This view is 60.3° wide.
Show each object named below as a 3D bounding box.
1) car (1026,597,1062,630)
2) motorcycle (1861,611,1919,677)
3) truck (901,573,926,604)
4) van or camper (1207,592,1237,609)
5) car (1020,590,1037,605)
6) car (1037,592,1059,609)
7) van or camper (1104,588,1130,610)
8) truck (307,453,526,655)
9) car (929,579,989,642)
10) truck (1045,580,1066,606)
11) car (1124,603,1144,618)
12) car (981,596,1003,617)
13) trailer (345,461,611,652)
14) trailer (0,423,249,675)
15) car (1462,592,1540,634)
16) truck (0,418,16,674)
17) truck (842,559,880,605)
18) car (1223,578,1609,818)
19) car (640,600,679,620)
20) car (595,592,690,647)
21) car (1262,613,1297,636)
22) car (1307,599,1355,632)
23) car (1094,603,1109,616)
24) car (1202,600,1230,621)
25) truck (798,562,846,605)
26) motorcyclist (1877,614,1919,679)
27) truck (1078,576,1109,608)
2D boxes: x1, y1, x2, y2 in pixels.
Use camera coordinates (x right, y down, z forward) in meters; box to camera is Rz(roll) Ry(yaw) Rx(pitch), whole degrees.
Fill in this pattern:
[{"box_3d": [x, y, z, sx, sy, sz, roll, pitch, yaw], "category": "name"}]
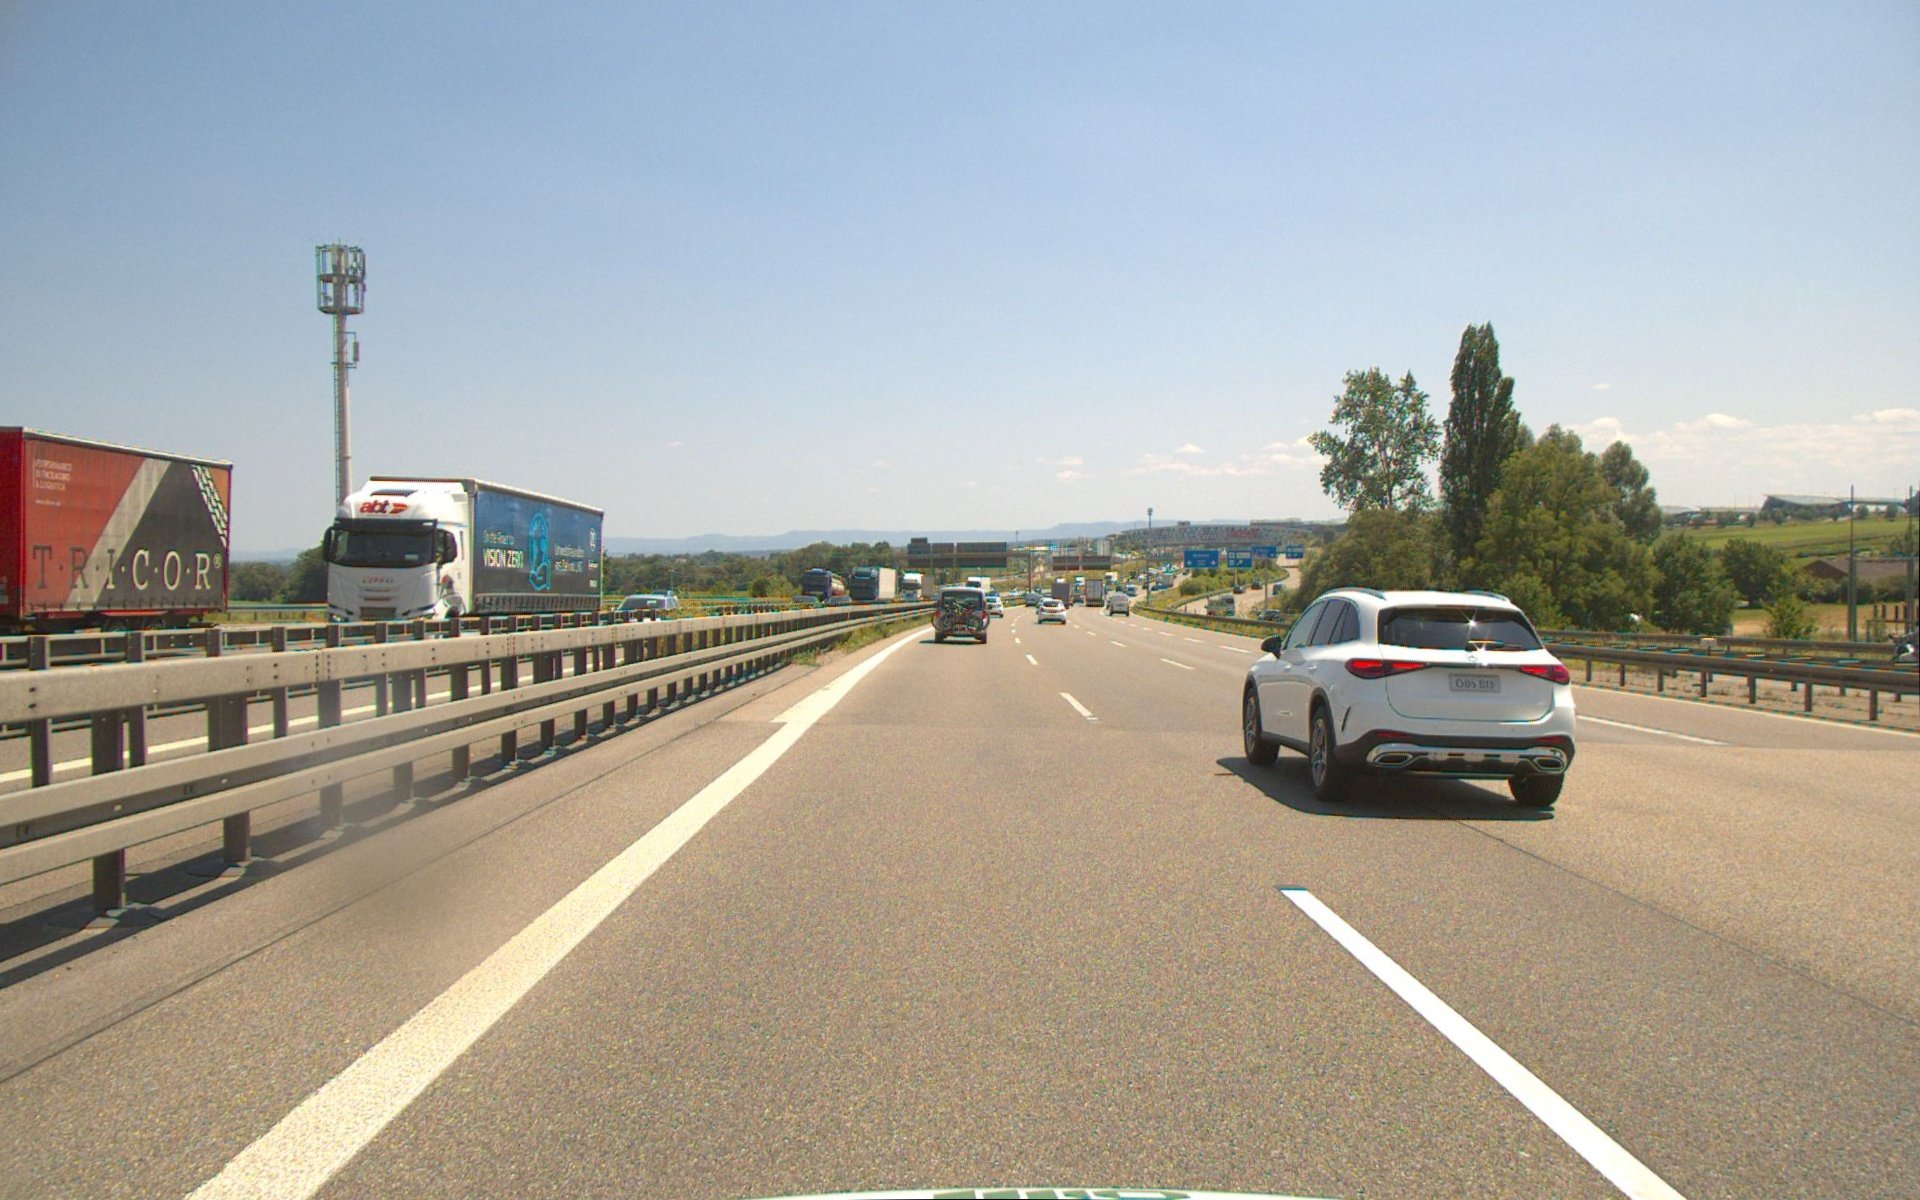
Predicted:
[{"box_3d": [5.130, 0.823, 101.392, 1.887, 1.952, 4.517, 1, 0, 0], "category": "car"}, {"box_3d": [20.666, 0.946, 36.264, 0.745, 1.390, 1.868, 1, 0, -3], "category": "motorcycle"}, {"box_3d": [-6.428, -1.613, 229.010, 2.821, 4.189, 6.387, 2, 0, 3], "category": "truck"}, {"box_3d": [33.000, 0.063, 208.436, 2.481, 2.049, 4.453, 1, 0, -8], "category": "van or camper"}, {"box_3d": [9.347, -0.355, 224.393, 2.140, 2.038, 4.002, 1, 0, 4], "category": "car"}, {"box_3d": [8.186, 0.057, 154.753, 1.941, 1.499, 4.001, 1, 0, 2], "category": "car"}, {"box_3d": [14.915, -0.114, 157.280, 2.111, 2.049, 4.305, 1, 0, 2], "category": "van or camper"}, {"box_3d": [-12.984, -1.015, 40.211, 2.867, 4.420, 6.916, 1, 0, 1], "category": "truck"}, {"box_3d": [-0.030, 0.336, 55.431, 1.887, 1.952, 4.948, 1, 0, 0], "category": "car"}, {"box_3d": [12.437, -0.871, 214.818, 2.646, 3.163, 10.664, 1, 0, 4], "category": "truck"}, {"box_3d": [21.192, 1.240, 201.928, 1.953, 1.720, 4.000, 1, 0, 0], "category": "car"}, {"box_3d": [2.418, 0.485, 123.913, 1.543, 1.579, 3.965, 1, 0, 2], "category": "car"}, {"box_3d": [-12.874, -1.006, 46.165, 2.885, 4.418, 14.621, 1, 0, 1], "category": "trailer"}, {"box_3d": [-16.916, -0.869, 31.868, 2.507, 4.177, 8.715, 1, 0, 1], "category": "trailer"}, {"box_3d": [21.426, 0.500, 65.623, 1.665, 1.602, 4.127, 1, 0, -1], "category": "car"}, {"box_3d": [-16.975, -0.893, 22.253, 2.529, 4.187, 10.348, 1, 0, 0], "category": "truck"}, {"box_3d": [-9.351, -1.647, 157.193, 2.905, 4.192, 7.599, 1, 0, 1], "category": "truck"}, {"box_3d": [3.668, 0.707, 14.350, 1.860, 1.676, 4.997, 1, 0, -1], "category": "car"}, {"box_3d": [-22.047, 0.719, 121.542, 1.486, 1.426, 4.800, 1, 0, 6], "category": "car"}, {"box_3d": [-9.266, 0.534, 48.608, 1.829, 1.489, 4.638, 1, 0, 1], "category": "car"}, {"box_3d": [23.810, 1.787, 123.368, 1.952, 1.624, 4.001, 1, 0, 2], "category": "car"}, {"box_3d": [22.973, 0.935, 102.570, 1.899, 1.957, 4.178, 1, 0, -1], "category": "car"}, {"box_3d": [19.066, 1.266, 223.340, 1.952, 1.720, 4.002, 1, 0, 4], "category": "car"}, {"box_3d": [26.332, 1.084, 170.288, 1.954, 2.049, 3.997, 1, 0, -3], "category": "car"}, {"box_3d": [-13.041, -1.510, 157.275, 3.152, 3.852, 12.903, 1, 0, 1], "category": "truck"}, {"box_3d": [20.661, 1.013, 36.205, 0.655, 1.390, 0.878, 1, 0, -1], "category": "motorcyclist"}, {"box_3d": [20.187, -1.311, 249.944, 3.953, 4.335, 11.769, 1, 2, 8], "category": "truck"}]
